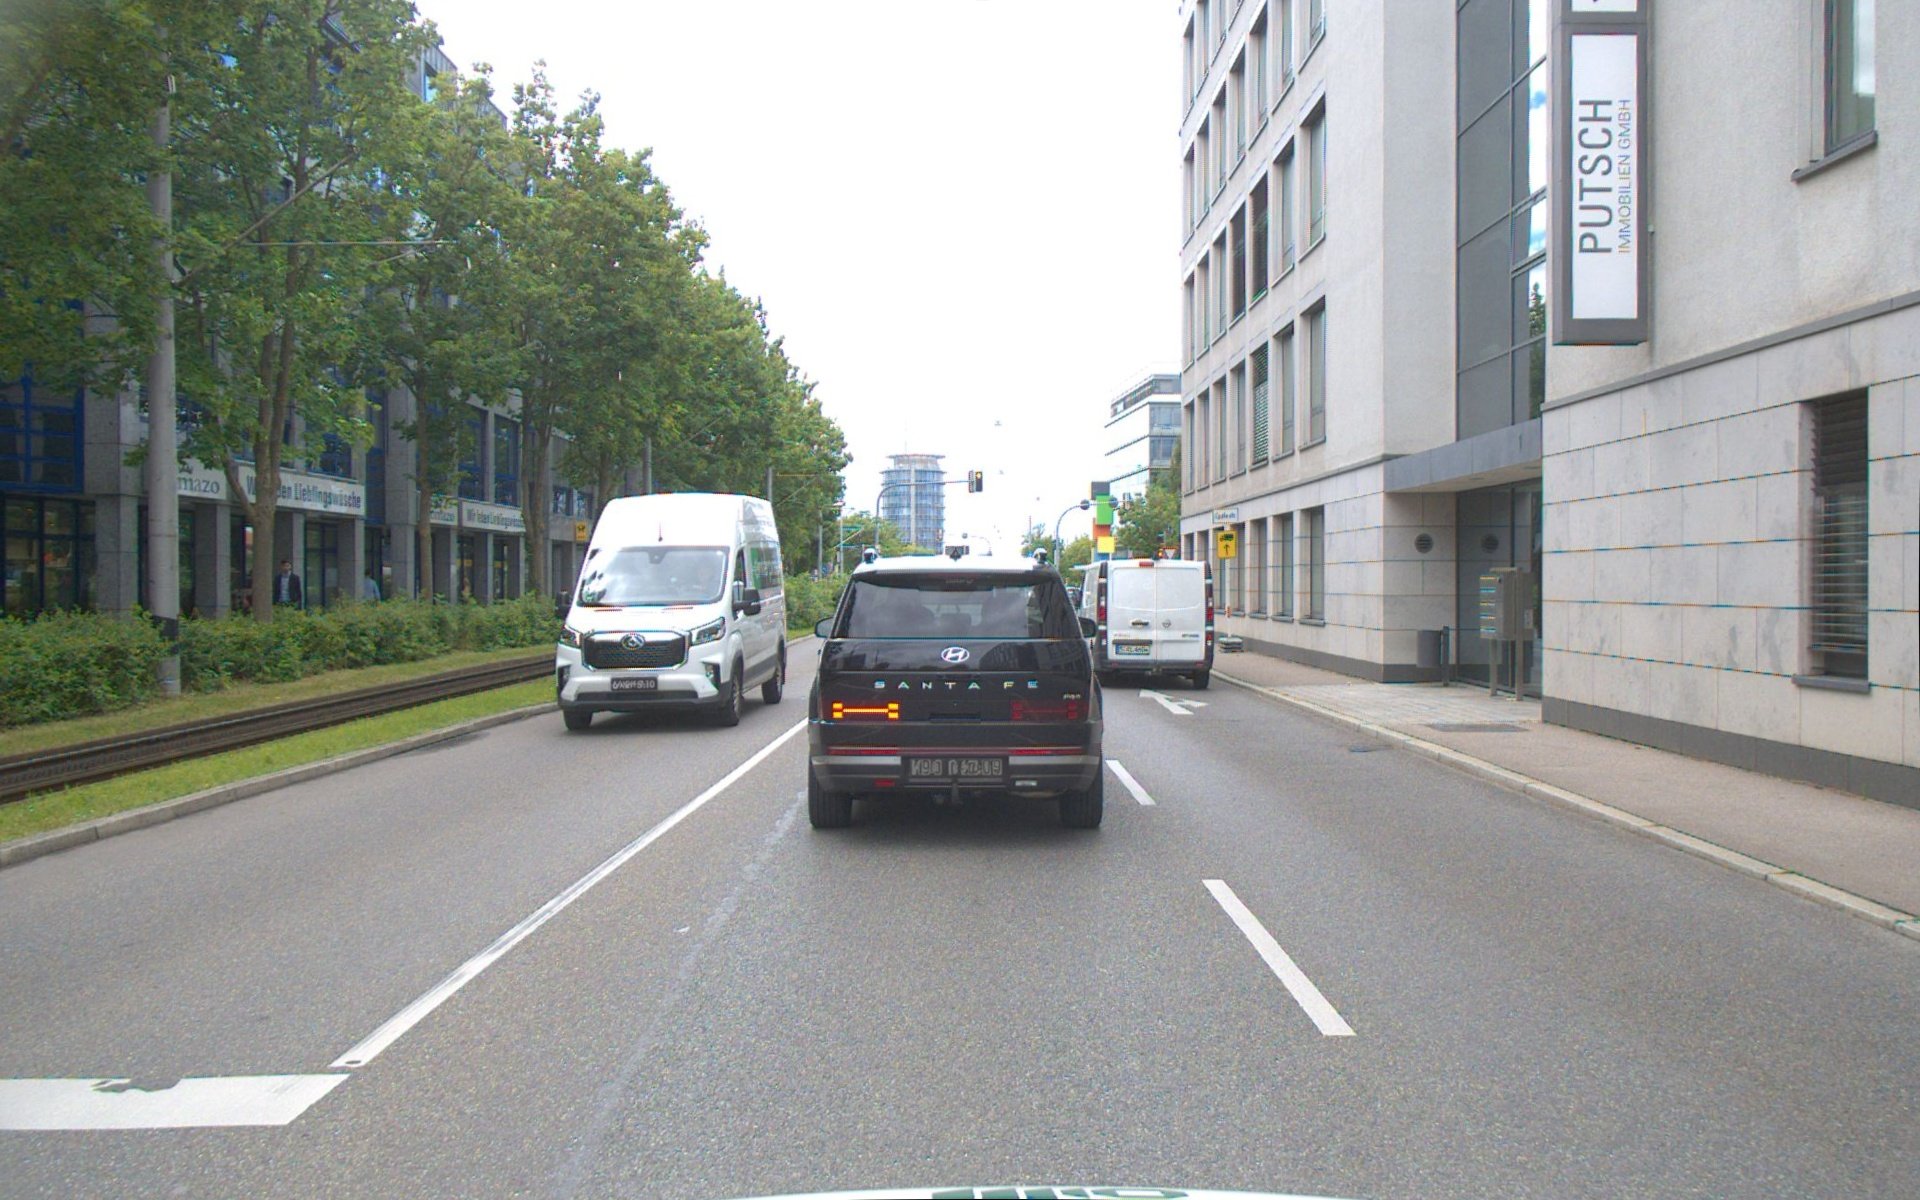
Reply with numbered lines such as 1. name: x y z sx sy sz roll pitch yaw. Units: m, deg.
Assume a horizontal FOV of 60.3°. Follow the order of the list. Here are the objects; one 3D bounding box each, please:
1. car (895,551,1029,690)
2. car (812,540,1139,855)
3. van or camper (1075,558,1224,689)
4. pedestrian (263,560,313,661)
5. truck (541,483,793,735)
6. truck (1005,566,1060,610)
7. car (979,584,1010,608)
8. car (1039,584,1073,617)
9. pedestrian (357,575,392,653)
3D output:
1. car: -0.062 0.282 26.698 1.893 2.029 4.532 0 1 -3
2. car: -0.089 0.539 11.622 1.871 1.780 4.392 0 0 -5
3. van or camper: 2.989 0.323 26.966 1.952 1.949 4.332 1 1 0
4. pedestrian: -13.208 0.199 32.503 0.661 1.942 0.622 -2 0 1
5. truck: -3.416 0.068 20.545 2.121 2.661 5.795 -1 0 -1
6. truck: 4.774 -0.778 109.975 2.289 2.796 6.473 -1 0 -9
7. car: 2.567 -0.304 122.869 1.954 1.647 3.997 -1 0 -4
8. car: 5.027 0.005 86.881 1.722 1.637 4.190 0 1 3
9. pedestrian: -15.576 0.356 43.997 0.667 2.049 0.571 -1 0 0
